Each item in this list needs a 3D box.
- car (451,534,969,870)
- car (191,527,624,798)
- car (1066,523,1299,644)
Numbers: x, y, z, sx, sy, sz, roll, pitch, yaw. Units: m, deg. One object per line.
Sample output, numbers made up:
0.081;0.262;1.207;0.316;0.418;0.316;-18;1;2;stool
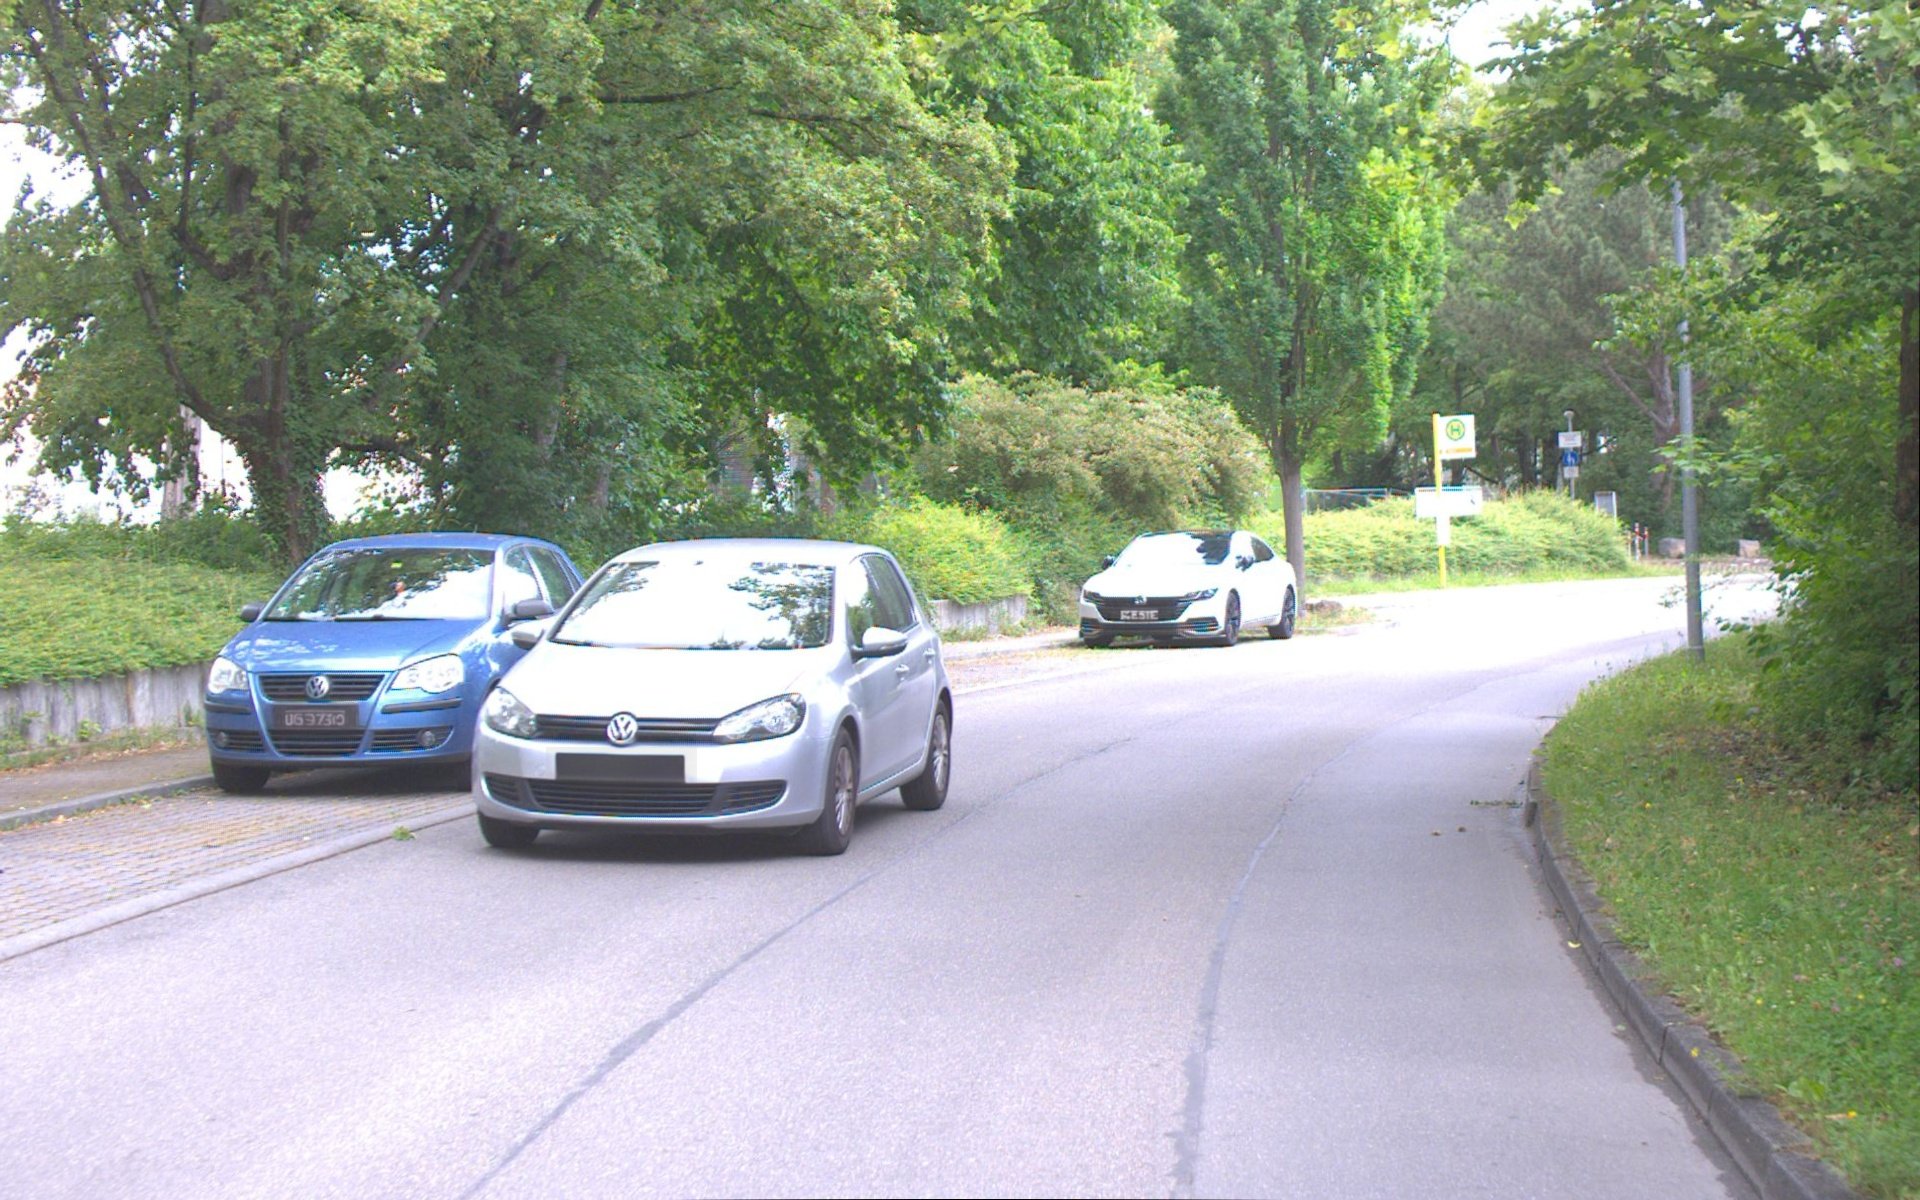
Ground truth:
-1.129;0.413;17.427;1.677;1.457;4.060;1;1;10;car
-3.213;0.305;20.680;1.534;1.454;3.719;-1;1;8;car
2.829;-0.243;42.704;1.815;1.419;4.357;0;1;19;car
